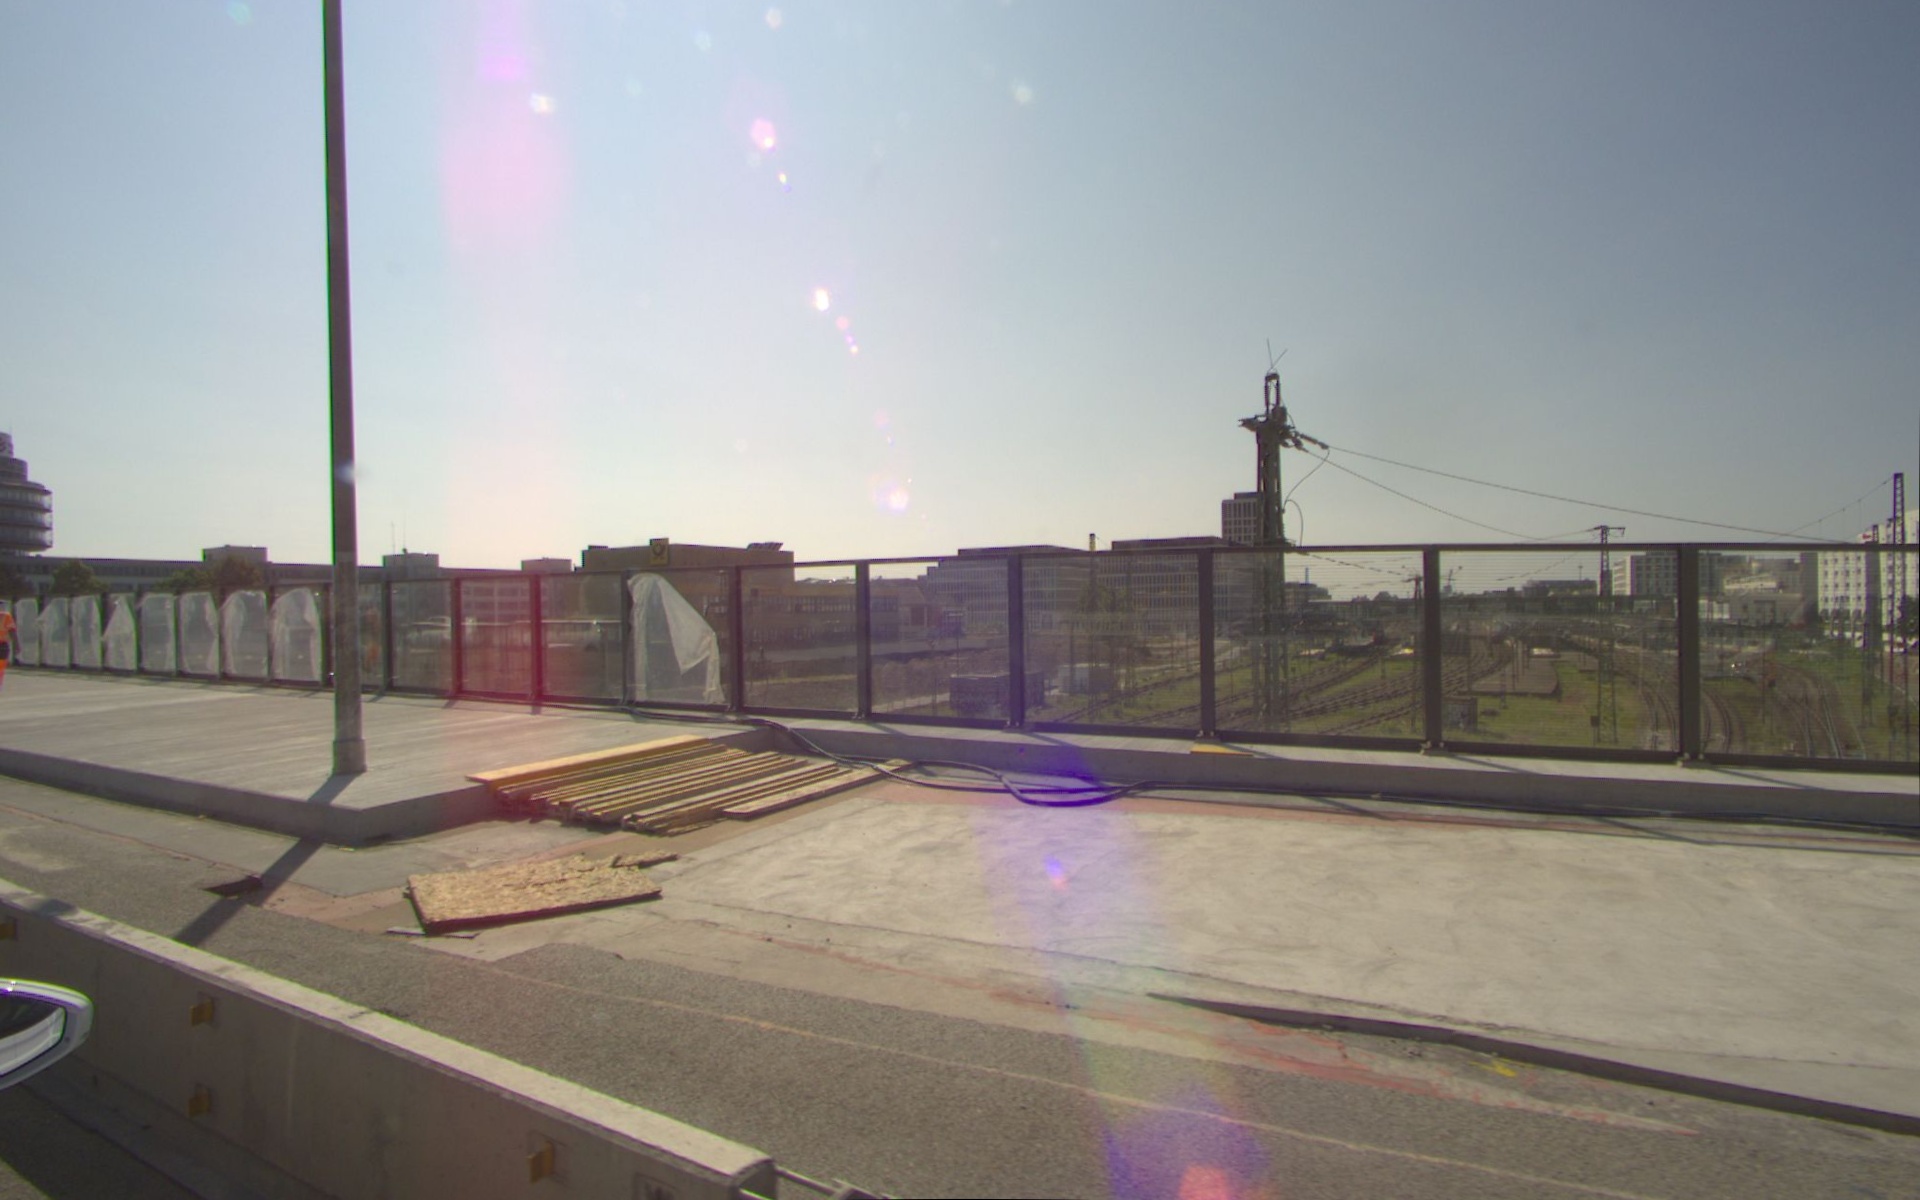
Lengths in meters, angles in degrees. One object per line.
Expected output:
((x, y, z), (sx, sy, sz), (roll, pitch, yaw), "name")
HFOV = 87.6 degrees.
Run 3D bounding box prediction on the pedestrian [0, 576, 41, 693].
((-16.476, 0.589, 17.206), (0.788, 1.961, 0.780), (-1, 1, 32), "pedestrian")
